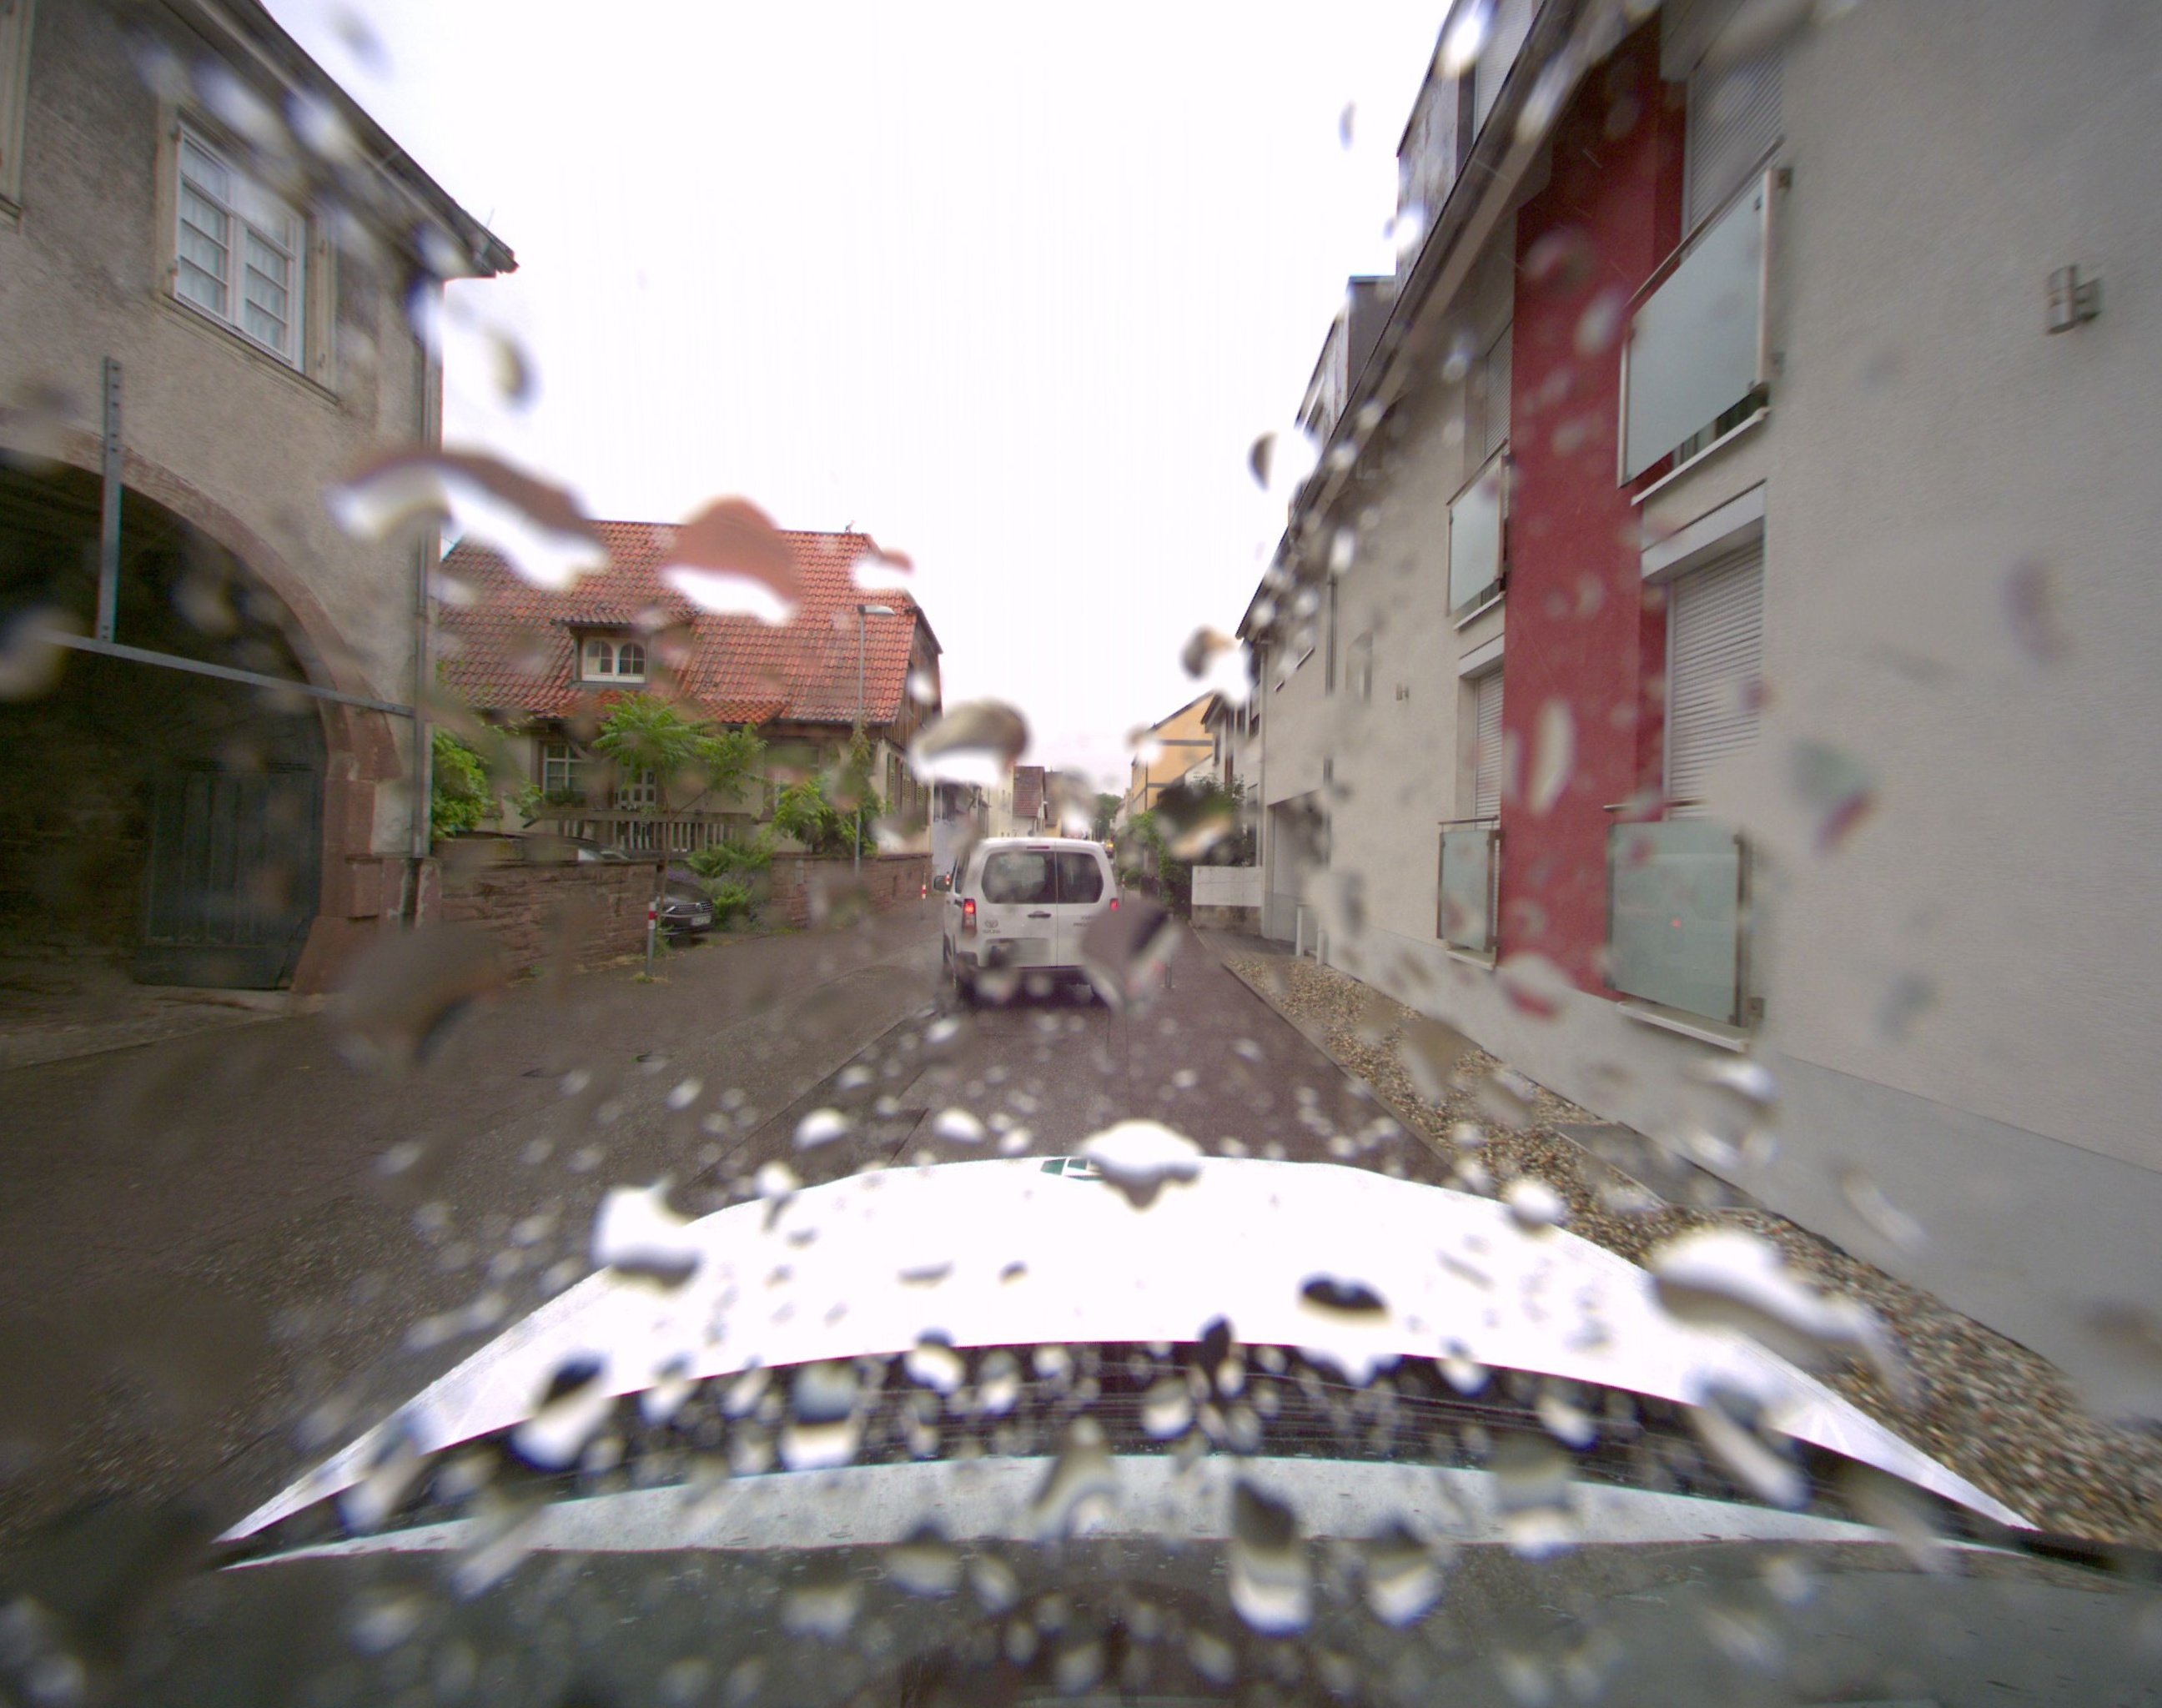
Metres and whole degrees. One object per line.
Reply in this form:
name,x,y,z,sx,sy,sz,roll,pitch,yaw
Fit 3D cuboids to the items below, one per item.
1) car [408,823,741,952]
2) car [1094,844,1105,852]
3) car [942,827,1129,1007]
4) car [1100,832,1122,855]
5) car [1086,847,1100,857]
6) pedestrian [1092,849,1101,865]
car,-7.599,0.469,12.423,3.966,1.425,1.739,6,0,7
car,3.537,-1.149,154.896,1.580,1.441,3.773,2,0,7
car,-0.775,0.632,10.232,1.776,1.780,3.984,0,0,-12
car,2.806,-0.932,75.105,1.985,2.014,4.003,0,0,3
car,1.968,-0.360,133.968,1.983,1.559,3.439,-2,2,7
pedestrian,1.882,0.358,98.952,1.047,1.893,0.877,0,0,-1
